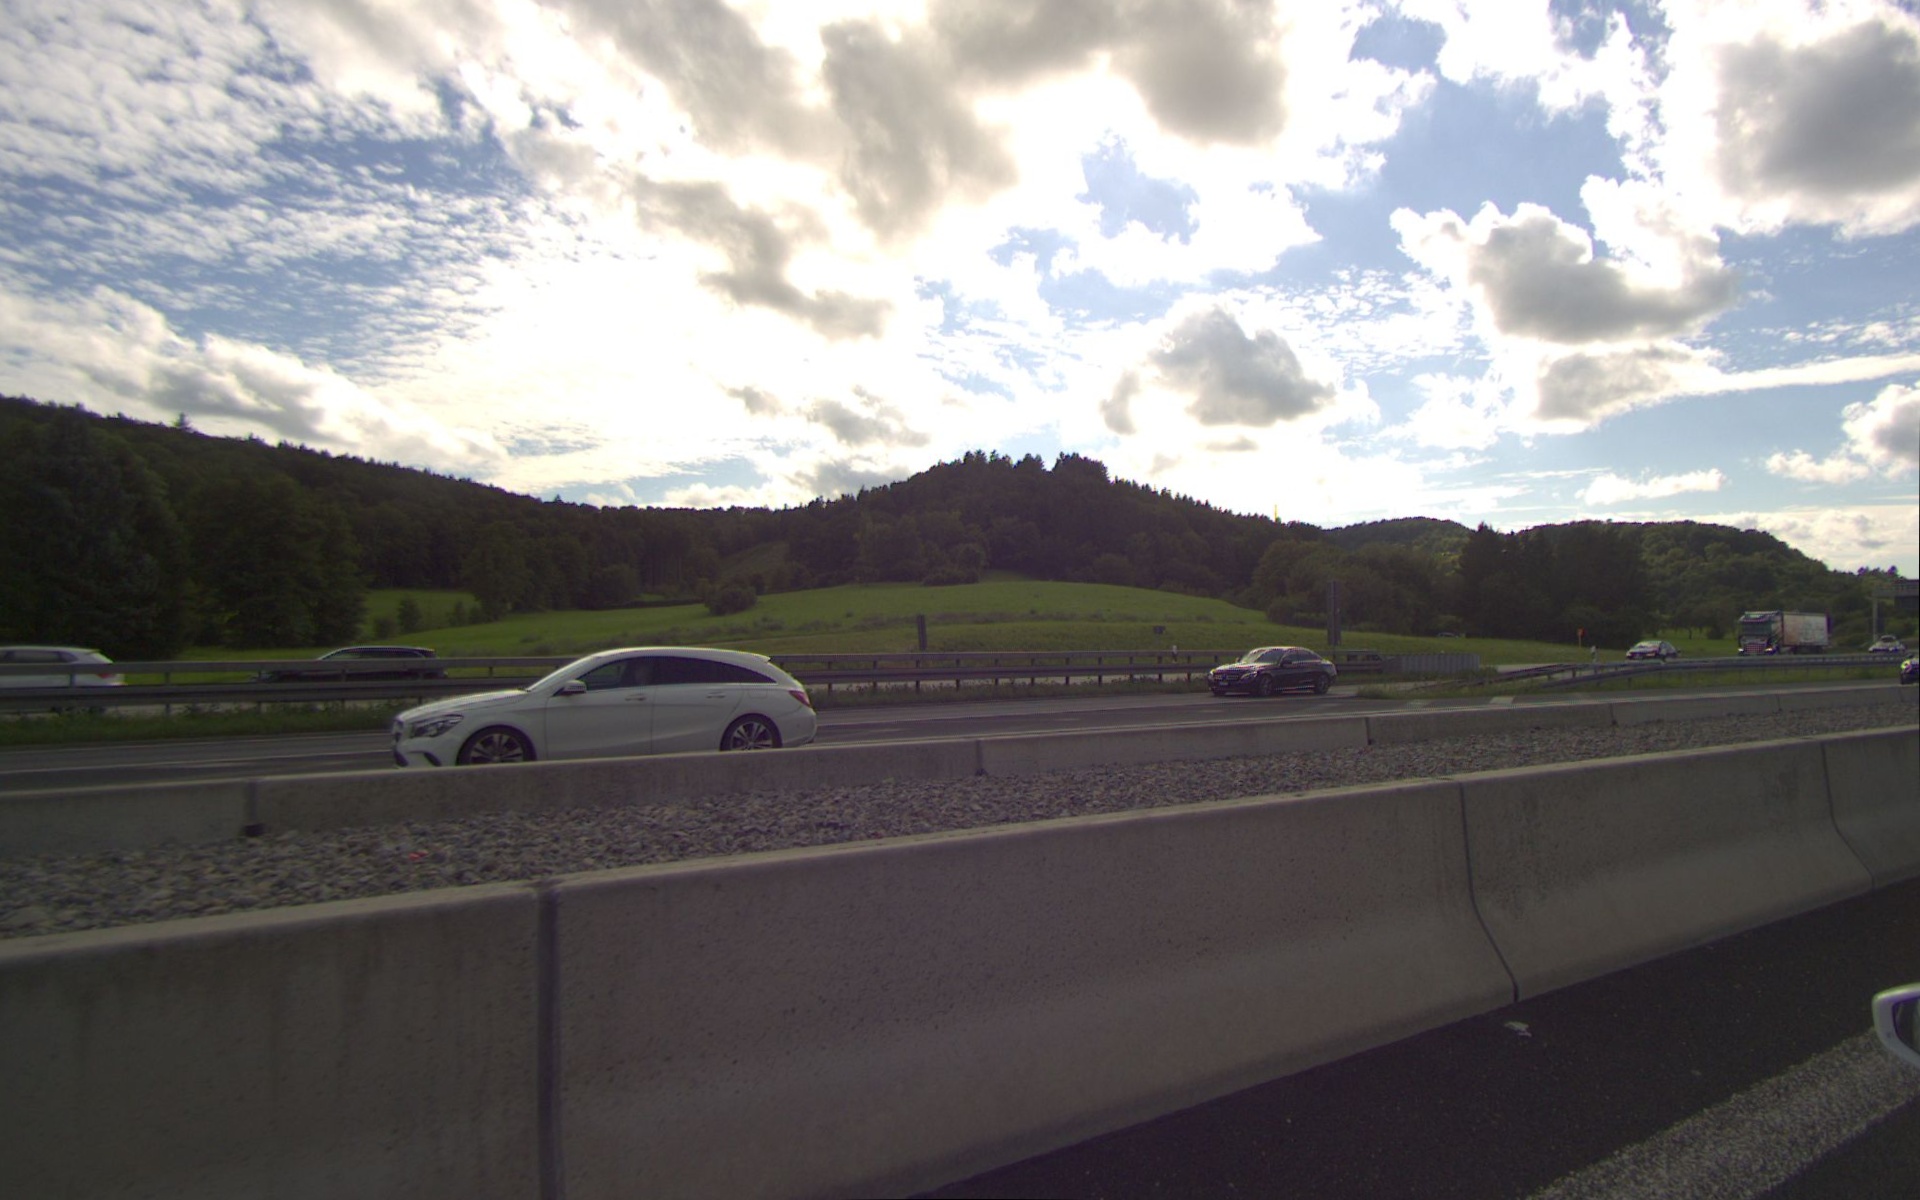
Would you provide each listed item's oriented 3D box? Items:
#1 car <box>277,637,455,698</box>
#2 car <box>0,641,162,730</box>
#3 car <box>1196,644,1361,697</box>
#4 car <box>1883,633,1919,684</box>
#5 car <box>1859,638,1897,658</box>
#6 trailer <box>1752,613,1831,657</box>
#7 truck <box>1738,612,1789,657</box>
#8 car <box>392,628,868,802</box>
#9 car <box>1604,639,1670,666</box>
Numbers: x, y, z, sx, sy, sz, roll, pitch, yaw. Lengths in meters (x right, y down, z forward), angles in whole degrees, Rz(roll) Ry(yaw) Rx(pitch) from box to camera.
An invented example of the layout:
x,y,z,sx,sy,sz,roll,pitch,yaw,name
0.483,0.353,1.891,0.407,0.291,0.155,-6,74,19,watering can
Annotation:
x,y,z,sx,sy,sz,roll,pitch,yaw,name
-16.976,1.904,28.890,4.251,1.639,1.793,2,-3,-30,car
-18.411,1.602,19.197,4.653,1.639,1.984,2,-3,-30,car
9.566,2.059,30.046,4.946,1.470,1.983,2,-3,-32,car
32.557,1.936,33.240,4.251,1.639,1.793,2,-3,-30,car
86.631,4.540,94.774,4.355,1.922,1.761,2,-3,-36,car
75.448,3.257,90.986,13.111,3.785,1.981,2,-3,-35,trailer
69.454,3.039,86.816,5.099,3.810,1.981,2,-3,-35,truck
-3.720,1.193,11.639,4.944,1.639,1.984,2,-3,-30,car
42.684,3.307,63.291,4.251,1.639,1.793,2,-3,-30,car
